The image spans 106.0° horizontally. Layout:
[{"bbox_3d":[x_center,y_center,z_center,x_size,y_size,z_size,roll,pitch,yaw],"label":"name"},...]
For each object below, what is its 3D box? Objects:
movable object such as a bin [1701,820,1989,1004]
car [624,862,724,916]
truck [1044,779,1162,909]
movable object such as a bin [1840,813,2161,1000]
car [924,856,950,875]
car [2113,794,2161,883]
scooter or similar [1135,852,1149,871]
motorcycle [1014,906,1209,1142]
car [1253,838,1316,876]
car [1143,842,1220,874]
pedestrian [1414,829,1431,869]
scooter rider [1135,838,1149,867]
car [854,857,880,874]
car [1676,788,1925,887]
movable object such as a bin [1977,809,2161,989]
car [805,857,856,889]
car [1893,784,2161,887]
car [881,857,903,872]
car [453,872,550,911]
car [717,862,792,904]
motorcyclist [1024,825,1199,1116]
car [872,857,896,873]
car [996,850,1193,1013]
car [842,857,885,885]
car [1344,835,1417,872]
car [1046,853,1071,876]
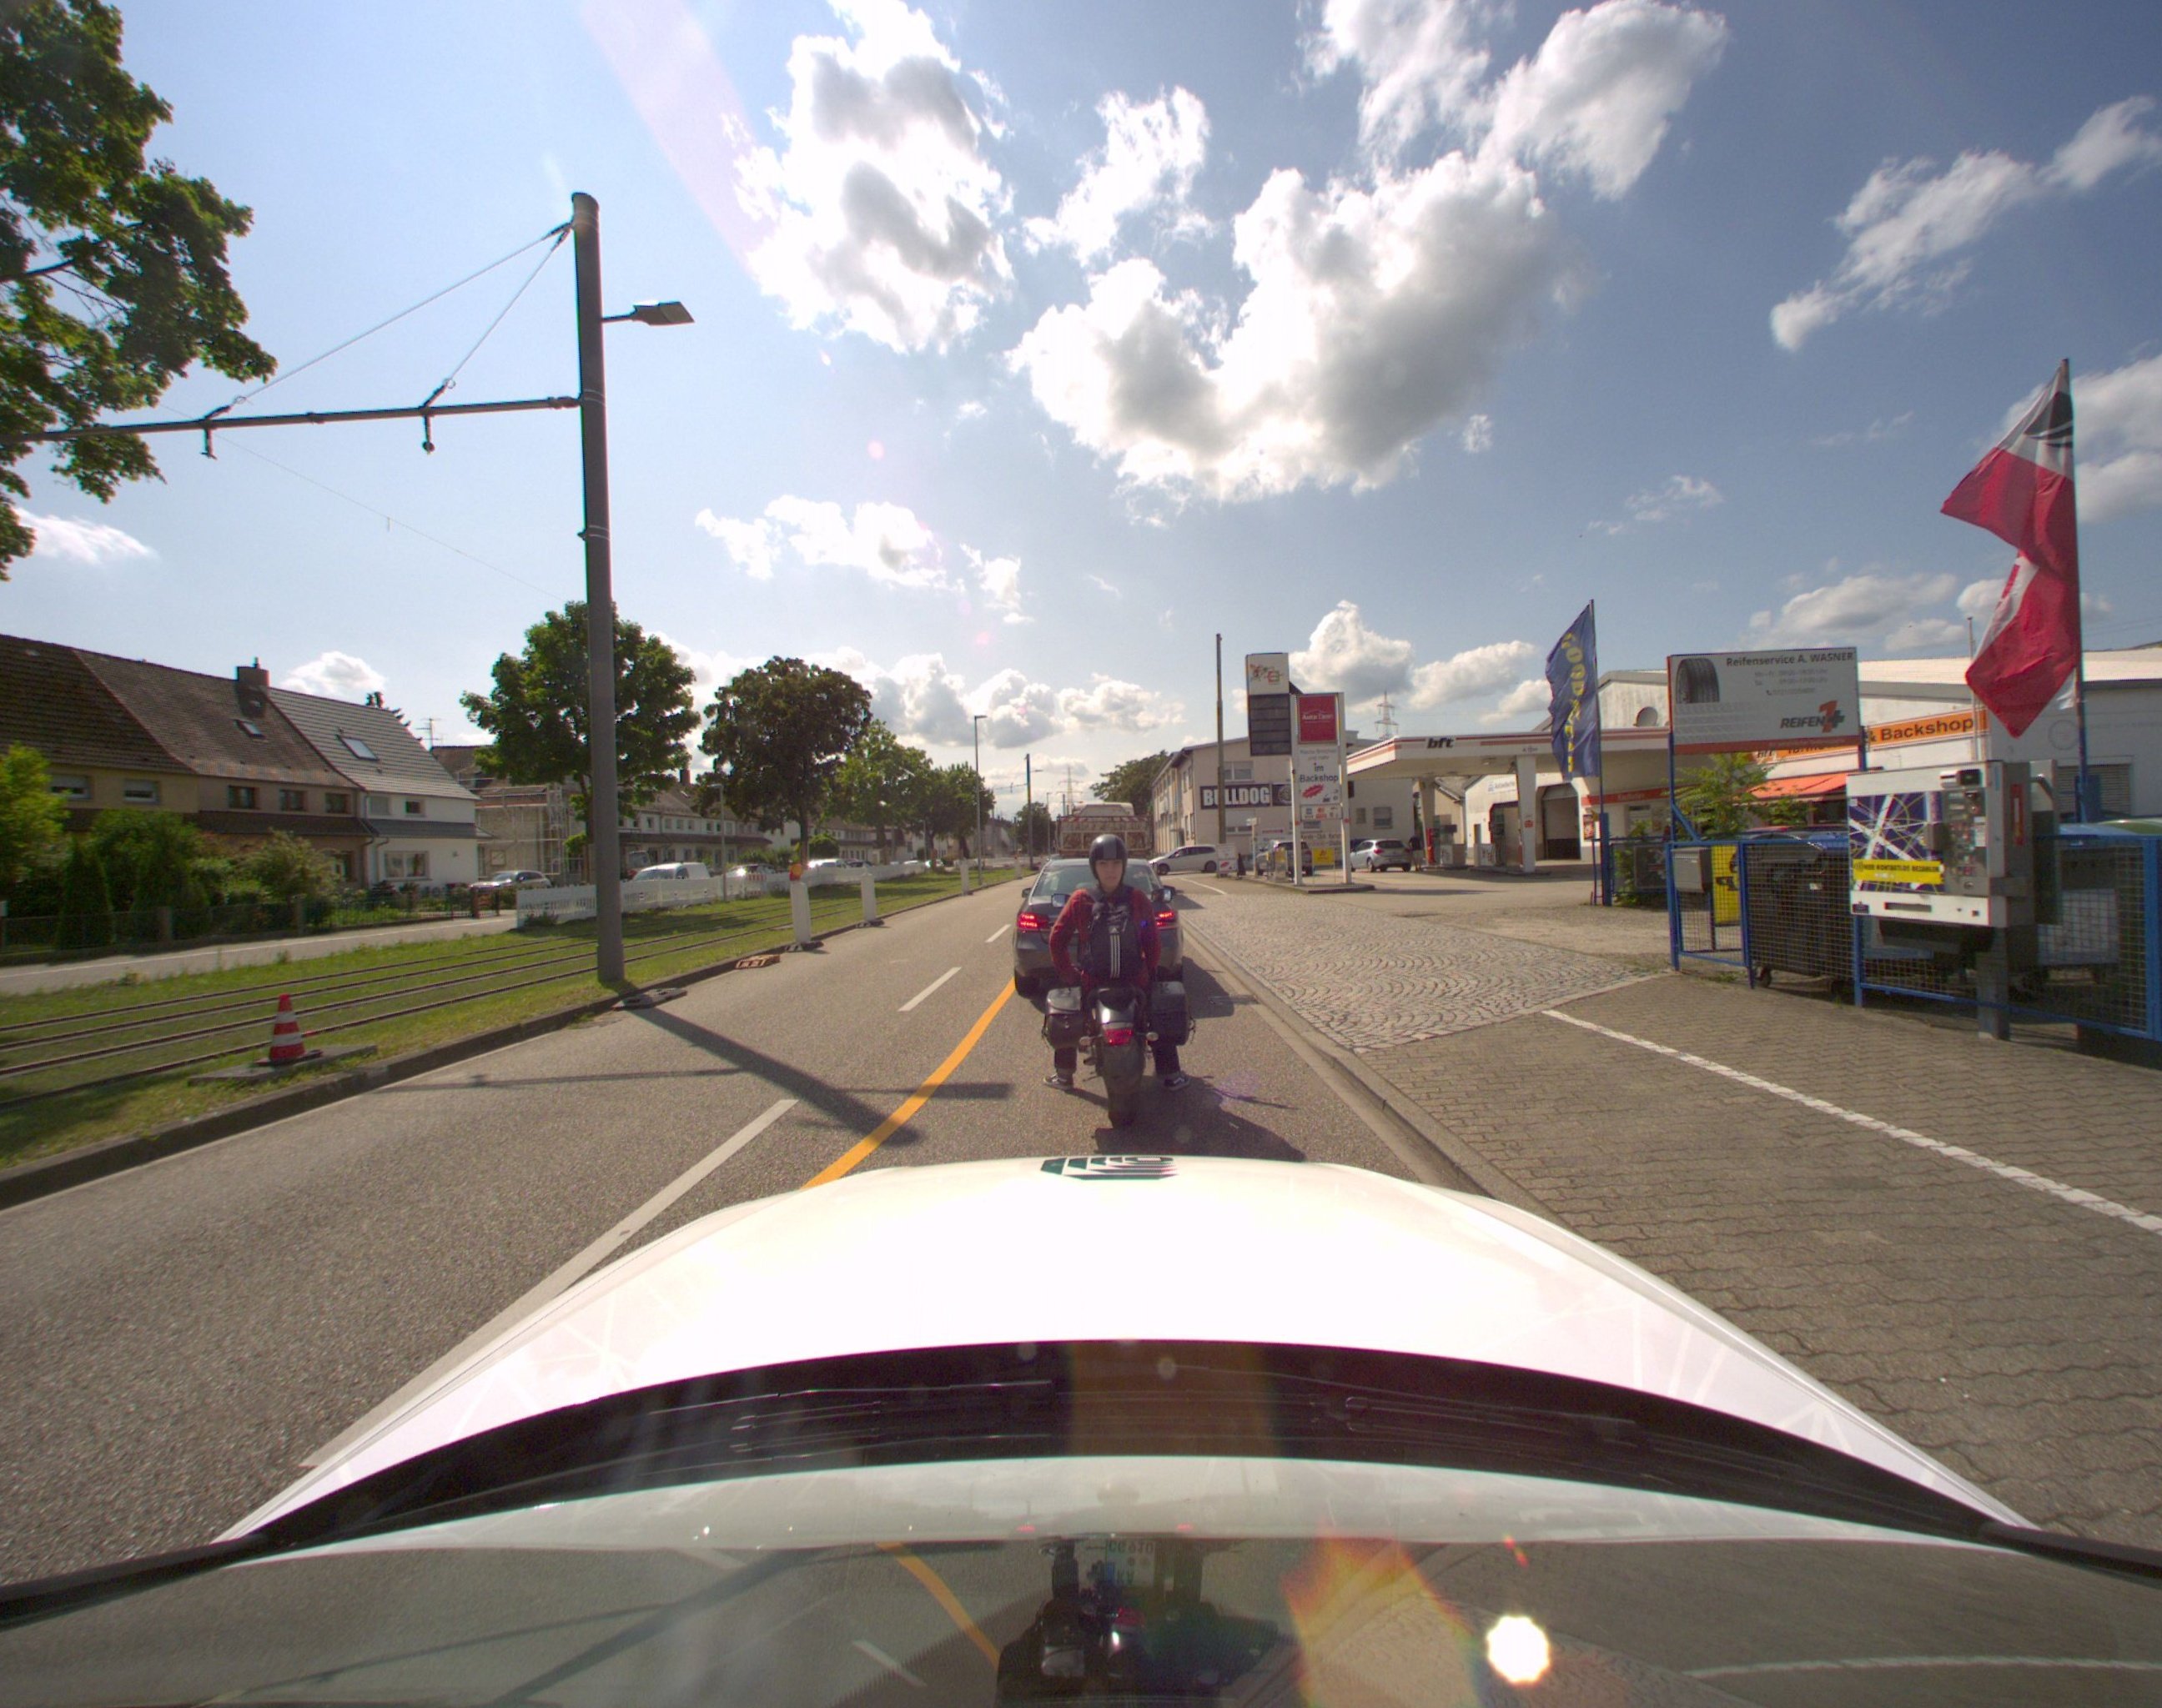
[{"bbox_3d":[6.822,0.471,7.408,1.222,1.454,1.455,-2,0,0],"label":"movable object such as a bin"},{"bbox_3d":[-15.418,1.277,31.062,1.692,1.817,3.862,-2,0,2],"label":"car"},{"bbox_3d":[0.641,-0.283,25.609,2.960,3.304,8.407,-2,0,1],"label":"truck"},{"bbox_3d":[8.102,0.416,7.284,1.222,1.454,1.455,-2,0,0],"label":"movable object such as a bin"},{"bbox_3d":[-14.182,1.145,80.404,1.692,1.739,3.862,-2,0,2],"label":"car"},{"bbox_3d":[26.350,-0.435,18.188,3.972,2.013,2.001,-2,0,1],"label":"car"},{"bbox_3d":[3.897,0.455,52.017,0.792,1.144,1.520,-2,0,2],"label":"scooter or similar"},{"bbox_3d":[0.193,0.933,5.318,0.972,1.013,2.433,-1,0,2],"label":"motorcycle"},{"bbox_3d":[9.068,0.119,36.581,1.826,1.536,4.009,-3,0,1],"label":"car"},{"bbox_3d":[5.766,0.224,47.054,4.100,1.624,1.682,-3,0,-7],"label":"car"},{"bbox_3d":[14.841,-0.212,35.392,0.628,1.683,0.626,-2,0,23],"label":"pedestrian"},{"bbox_3d":[3.873,-0.084,52.033,0.792,1.818,0.508,-2,0,1],"label":"scooter rider"},{"bbox_3d":[-24.461,1.294,93.146,1.692,1.739,4.064,-2,0,2],"label":"car"},{"bbox_3d":[16.600,-0.372,18.965,3.972,2.013,2.001,-2,0,1],"label":"car"},{"bbox_3d":[9.447,0.336,7.195,1.425,1.454,1.455,-2,0,0],"label":"movable object such as a bin"},{"bbox_3d":[-15.133,1.111,49.399,1.692,1.739,3.862,-2,0,2],"label":"car"},{"bbox_3d":[21.248,-0.402,18.273,3.972,2.013,2.001,-2,0,1],"label":"car"},{"bbox_3d":[-24.373,1.335,105.372,1.692,1.739,4.064,-2,0,2],"label":"car"},{"bbox_3d":[-27.479,1.730,38.800,1.692,1.593,3.862,-2,0,2],"label":"car"},{"bbox_3d":[-15.325,1.323,38.493,1.692,1.739,4.056,-2,0,2],"label":"car"},{"bbox_3d":[0.192,0.655,5.201,0.966,1.633,1.215,-1,0,1],"label":"motorcyclist"},{"bbox_3d":[-24.045,1.328,99.348,1.692,1.739,4.064,-2,0,2],"label":"car"},{"bbox_3d":[0.160,0.735,9.822,1.826,1.479,4.009,-3,0,1],"label":"car"},{"bbox_3d":[-14.866,1.136,55.764,1.692,1.739,3.862,-2,0,2],"label":"car"},{"bbox_3d":[13.538,-0.026,37.073,1.826,1.479,4.009,-3,0,1],"label":"car"},{"bbox_3d":[-1.765,0.779,63.887,1.674,1.624,4.120,-2,0,1],"label":"car"}]
